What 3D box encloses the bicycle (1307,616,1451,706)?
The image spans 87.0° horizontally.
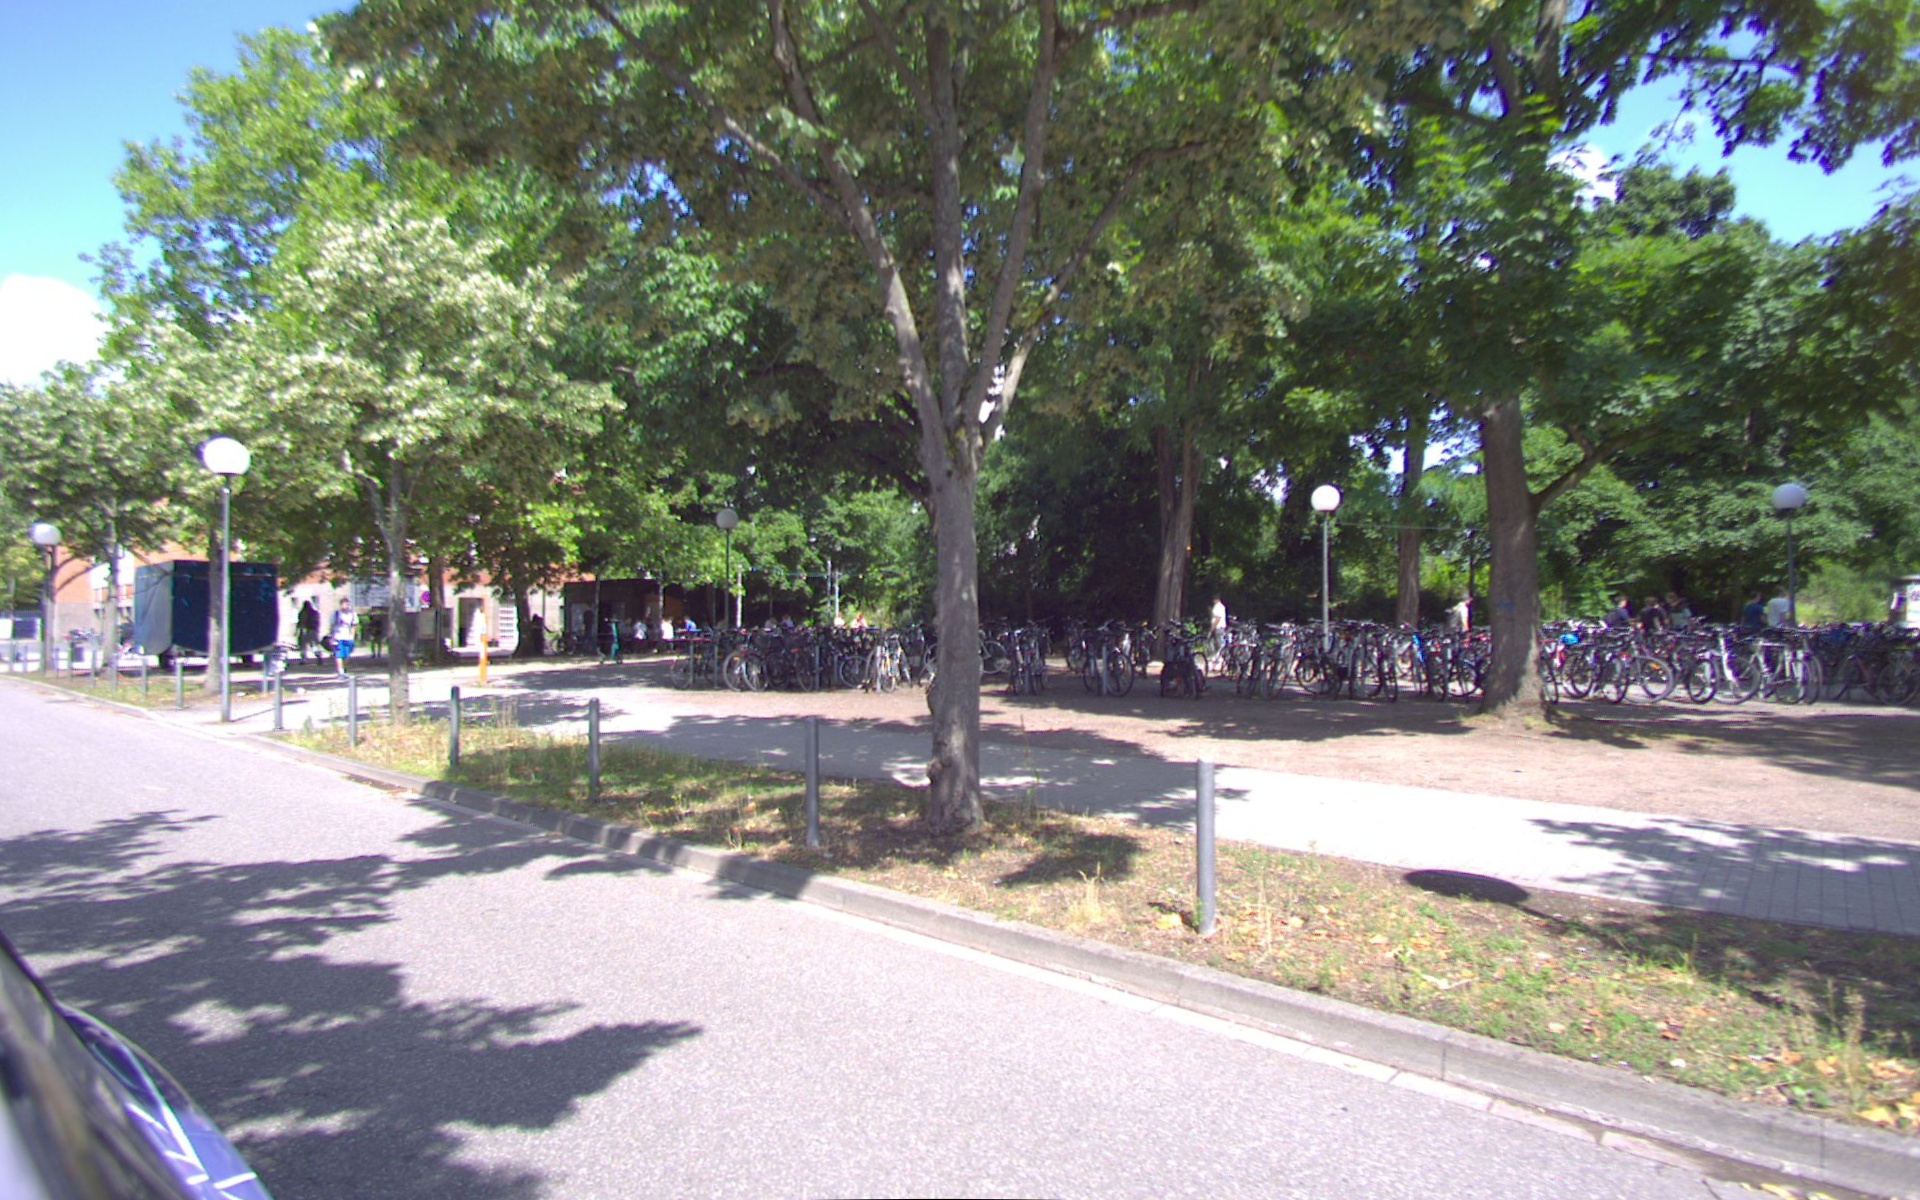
[{"bbox_3d":[6.286,0.874,15.430,0.870,1.230,2.909,-1,-1,-2],"label":"bicycle"}]

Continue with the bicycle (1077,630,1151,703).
[{"bbox_3d":[2.395,1.008,16.089,0.668,1.016,2.652,-1,-1,-2],"label":"bicycle"}]

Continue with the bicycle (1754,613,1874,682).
[{"bbox_3d":[15.926,0.857,18.943,0.632,1.141,2.057,-2,1,5],"label":"bicycle"}]

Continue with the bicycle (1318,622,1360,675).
[{"bbox_3d":[8.341,1.046,22.338,0.541,1.097,1.960,-1,-1,11],"label":"bicycle"}]

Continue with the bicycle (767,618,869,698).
[{"bbox_3d":[-2.423,0.971,17.589,0.804,1.244,2.045,-1,0,23],"label":"bicycle"}]

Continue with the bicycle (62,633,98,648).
[{"bbox_3d":[-64.878,2.966,74.606,0.518,1.038,1.931,-2,-2,39],"label":"bicycle"}]

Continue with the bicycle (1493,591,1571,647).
[{"bbox_3d":[12.299,0.410,21.821,0.632,1.141,2.057,-2,-1,5],"label":"bicycle"}]

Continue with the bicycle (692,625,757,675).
[{"bbox_3d":[-5.464,1.138,23.586,0.543,1.097,1.849,-1,-1,19],"label":"bicycle"}]

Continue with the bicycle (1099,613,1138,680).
[{"bbox_3d":[3.196,0.910,20.532,0.632,1.244,2.057,-2,0,5],"label":"bicycle"}]

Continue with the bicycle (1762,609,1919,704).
[{"bbox_3d":[13.595,0.796,14.987,0.870,1.306,3.084,-1,-1,-2],"label":"bicycle"}]

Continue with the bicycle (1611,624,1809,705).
[{"bbox_3d":[11.074,0.911,15.124,0.870,1.084,2.685,-1,-1,-2],"label":"bicycle"}]

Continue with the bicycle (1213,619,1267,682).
[{"bbox_3d":[5.531,0.975,20.096,0.632,1.167,2.057,-2,-1,5],"label":"bicycle"}]

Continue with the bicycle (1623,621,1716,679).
[{"bbox_3d":[14.870,1.022,21.269,0.632,1.141,2.057,0,-1,5],"label":"bicycle"}]

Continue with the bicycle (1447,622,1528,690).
[{"bbox_3d":[10.092,1.044,19.441,0.632,1.141,2.057,-2,1,5],"label":"bicycle"}]

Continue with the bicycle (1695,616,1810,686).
[{"bbox_3d":[14.829,0.921,19.009,0.666,1.141,2.057,-2,1,5],"label":"bicycle"}]

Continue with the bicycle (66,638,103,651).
[{"bbox_3d":[-62.050,3.148,71.752,0.568,0.948,1.931,-2,-2,39],"label":"bicycle"}]

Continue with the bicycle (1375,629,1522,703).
[{"bbox_3d":[7.485,0.970,15.715,0.870,1.010,2.734,-1,-1,-2],"label":"bicycle"}]

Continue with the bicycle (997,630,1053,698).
[{"bbox_3d":[1.107,1.030,16.808,0.670,1.016,2.147,-1,-1,10],"label":"bicycle"}]

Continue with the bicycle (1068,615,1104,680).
[{"bbox_3d":[2.540,0.939,20.606,0.632,1.244,2.057,-2,-1,5],"label":"bicycle"}]

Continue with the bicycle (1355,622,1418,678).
[{"bbox_3d":[9.297,1.074,22.142,0.632,1.141,2.057,-2,-1,5],"label":"bicycle"}]

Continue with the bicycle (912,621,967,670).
[{"bbox_3d":[-0.469,1.056,24.088,0.544,1.097,1.952,-1,-1,24],"label":"bicycle"}]

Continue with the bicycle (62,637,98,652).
[{"bbox_3d":[-63.306,3.193,72.820,0.529,1.038,1.931,-2,-2,39],"label":"bicycle"}]

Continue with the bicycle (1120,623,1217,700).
[{"bbox_3d":[3.221,0.917,15.960,0.870,1.094,2.752,-1,-1,-2],"label":"bicycle"}]

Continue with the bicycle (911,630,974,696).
[{"bbox_3d":[-0.265,1.034,16.973,0.670,1.016,1.885,-1,-1,11],"label":"bicycle"}]

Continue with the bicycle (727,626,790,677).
[{"bbox_3d":[-4.567,1.150,23.103,0.543,1.097,1.849,-1,-1,19],"label":"bicycle"}]

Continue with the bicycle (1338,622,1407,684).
[{"bbox_3d":[8.019,1.004,19.747,0.632,1.141,2.057,-2,-2,5],"label":"bicycle"}]

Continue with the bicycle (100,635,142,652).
[{"bbox_3d":[-53.673,2.769,64.761,0.663,1.069,2.001,-2,-2,39],"label":"bicycle"}]

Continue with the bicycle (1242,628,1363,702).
[{"bbox_3d":[5.328,0.979,15.984,0.870,1.022,2.784,-1,-1,-2],"label":"bicycle"}]

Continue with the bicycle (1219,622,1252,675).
[{"bbox_3d":[6.105,1.055,22.500,0.541,1.097,1.960,-1,-1,11],"label":"bicycle"}]

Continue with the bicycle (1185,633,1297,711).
[{"bbox_3d":[4.336,1.078,15.894,0.870,1.058,2.834,-1,-1,-2],"label":"bicycle"}]

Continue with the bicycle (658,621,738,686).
[{"bbox_3d":[-4.840,0.966,18.800,0.456,1.140,1.765,-1,-1,23],"label":"bicycle"}]

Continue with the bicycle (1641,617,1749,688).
[{"bbox_3d":[13.494,0.929,18.648,0.632,1.141,2.057,-1,1,5],"label":"bicycle"}]

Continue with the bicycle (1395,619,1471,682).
[{"bbox_3d":[9.125,0.958,19.617,0.632,1.141,2.057,-2,-2,5],"label":"bicycle"}]

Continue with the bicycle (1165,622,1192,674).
[{"bbox_3d":[4.934,1.065,22.927,0.541,1.097,1.960,-1,-1,11],"label":"bicycle"}]

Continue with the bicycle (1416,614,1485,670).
[{"bbox_3d":[10.638,0.893,22.035,0.632,1.141,2.057,-2,-1,5],"label":"bicycle"}]

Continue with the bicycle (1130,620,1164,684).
[{"bbox_3d":[3.800,1.029,20.693,0.473,1.141,2.057,-2,1,5],"label":"bicycle"}]

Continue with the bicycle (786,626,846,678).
[{"bbox_3d":[-3.214,1.153,22.780,0.543,1.097,1.849,-1,-1,19],"label":"bicycle"}]

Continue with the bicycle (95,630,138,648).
[{"bbox_3d":[-52.680,2.433,63.198,0.621,1.090,1.989,-2,-2,39],"label":"bicycle"}]

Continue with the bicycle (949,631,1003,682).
[{"bbox_3d":[0.399,1.302,23.800,0.544,1.097,1.952,-1,-1,24],"label":"bicycle"}]

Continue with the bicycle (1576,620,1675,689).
[{"bbox_3d":[12.426,0.985,18.986,0.632,1.141,2.057,-2,0,5],"label":"bicycle"}]

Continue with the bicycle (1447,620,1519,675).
[{"bbox_3d":[11.430,1.013,22.192,0.632,1.141,2.057,-2,-1,5],"label":"bicycle"}]

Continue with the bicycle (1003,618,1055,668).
[{"bbox_3d":[1.597,0.963,23.217,0.544,1.097,1.952,-1,-1,24],"label":"bicycle"}]

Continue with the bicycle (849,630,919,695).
[{"bbox_3d":[-1.280,1.047,17.509,0.670,1.016,2.146,-1,-1,11],"label":"bicycle"}]

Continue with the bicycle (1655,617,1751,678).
[{"bbox_3d":[15.597,0.970,21.313,0.632,1.141,2.057,-2,1,5],"label":"bicycle"}]

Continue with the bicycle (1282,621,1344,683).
[{"bbox_3d":[6.906,0.991,19.902,0.632,1.141,2.057,-2,-1,5],"label":"bicycle"}]

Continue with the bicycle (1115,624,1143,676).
[{"bbox_3d":[3.788,1.093,22.572,0.541,1.097,1.960,-1,-1,11],"label":"bicycle"}]

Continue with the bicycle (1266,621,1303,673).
[{"bbox_3d":[7.183,1.022,22.464,0.541,1.097,1.960,-1,-1,11],"label":"bicycle"}]

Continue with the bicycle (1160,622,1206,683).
[{"bbox_3d":[4.502,1.031,20.556,0.632,1.141,2.057,-2,-1,5],"label":"bicycle"}]

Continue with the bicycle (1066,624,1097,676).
[{"bbox_3d":[2.779,1.116,23.041,0.541,1.097,1.960,-1,-1,11],"label":"bicycle"}]

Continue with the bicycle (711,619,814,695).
[{"bbox_3d":[-3.490,0.983,18.073,0.804,1.244,2.044,-1,-1,23],"label":"bicycle"}]

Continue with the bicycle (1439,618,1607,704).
[{"bbox_3d":[8.572,0.881,15.626,0.870,1.187,2.884,-1,-1,-2],"label":"bicycle"}]

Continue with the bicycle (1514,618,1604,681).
[{"bbox_3d":[11.457,0.918,19.448,0.632,1.141,2.057,-2,-1,5],"label":"bicycle"}]

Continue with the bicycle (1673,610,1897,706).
[{"bbox_3d":[12.281,0.820,15.266,0.870,1.296,2.934,-1,-1,-2],"label":"bicycle"}]

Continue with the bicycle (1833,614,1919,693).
[{"bbox_3d":[14.753,0.828,15.152,0.732,1.134,2.962,-1,1,-2],"label":"bicycle"}]

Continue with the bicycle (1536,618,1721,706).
[{"bbox_3d":[9.877,0.870,15.139,0.870,1.188,2.709,-1,-1,-2],"label":"bicycle"}]
